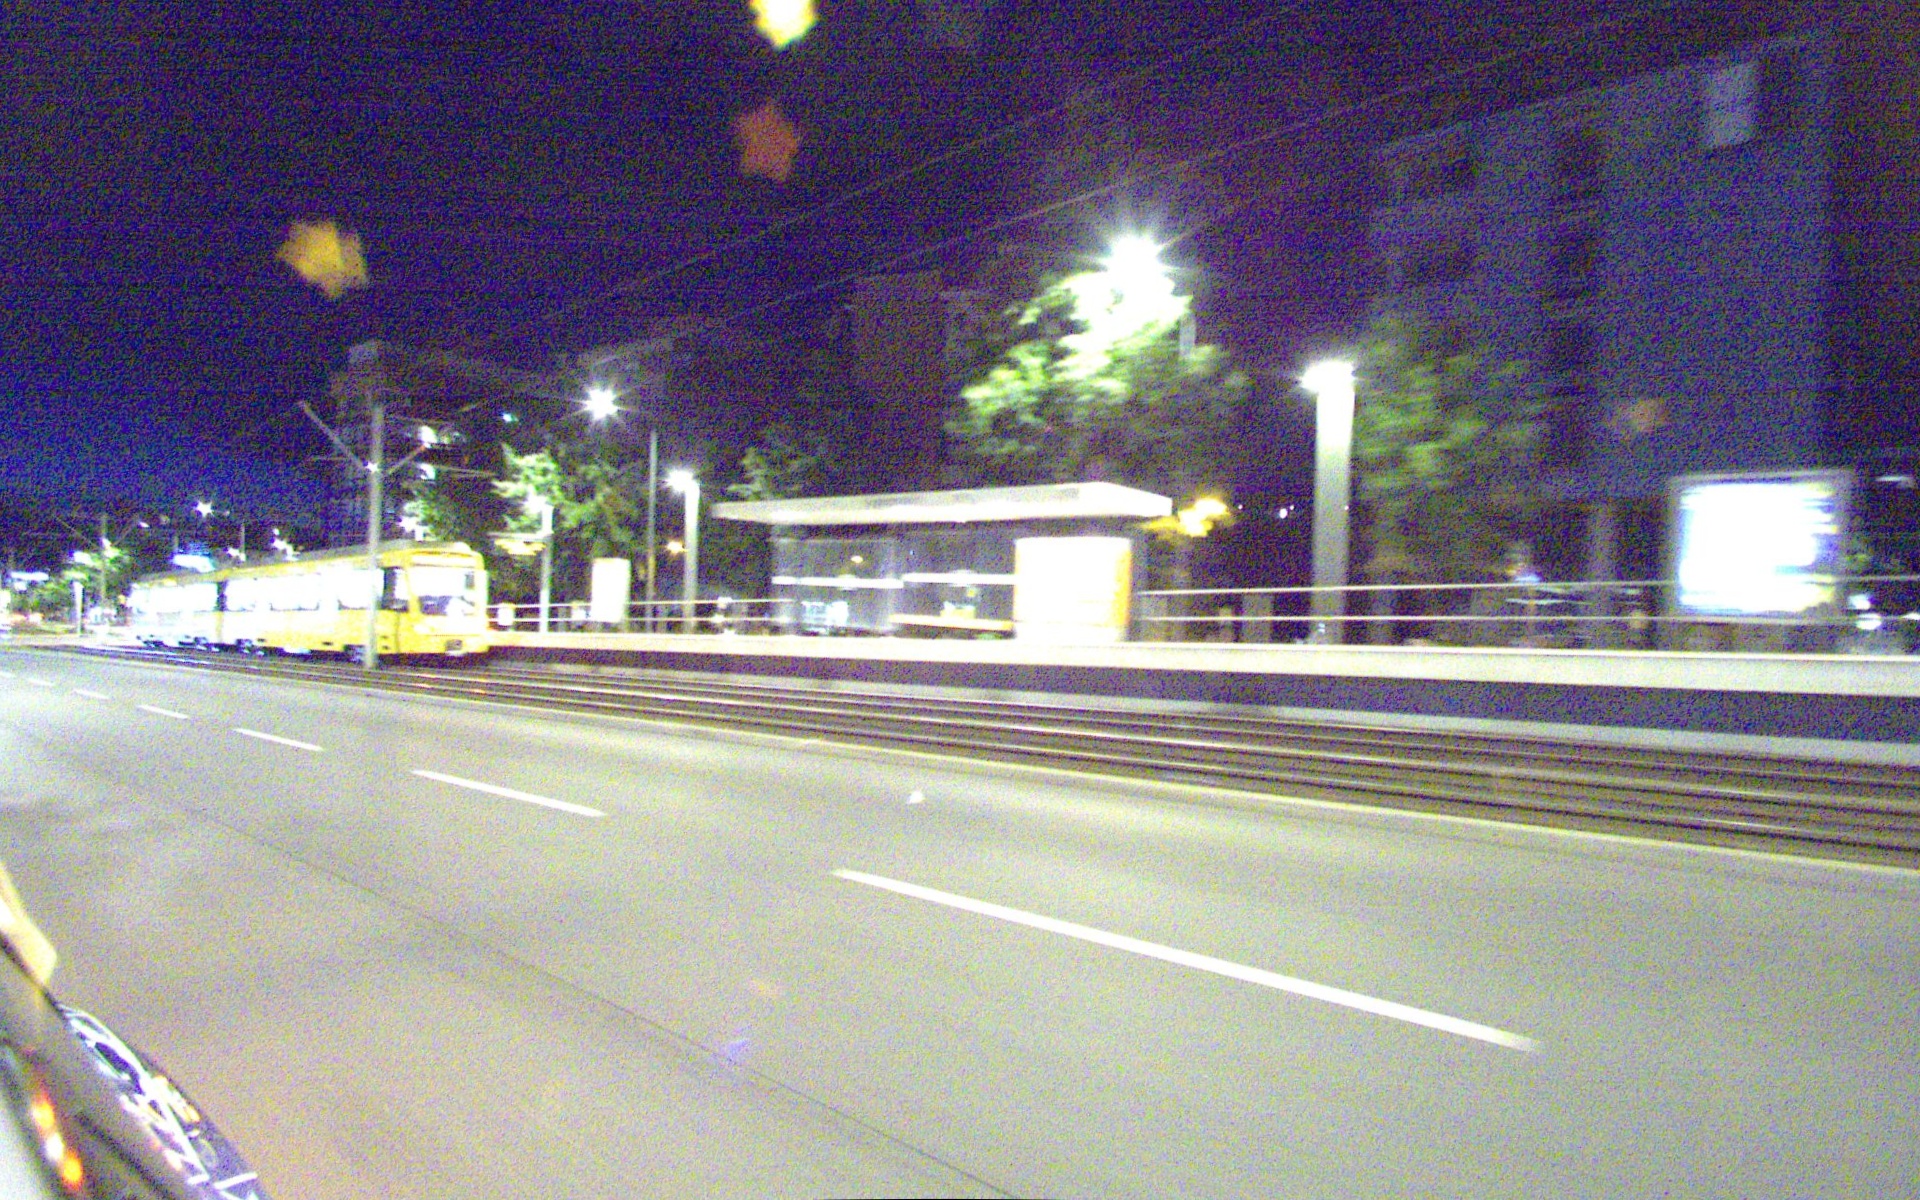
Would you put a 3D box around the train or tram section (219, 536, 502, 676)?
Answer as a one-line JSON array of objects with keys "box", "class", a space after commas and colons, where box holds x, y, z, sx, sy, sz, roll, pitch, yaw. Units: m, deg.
[{"box": [-21.517, 0.325, 35.118, 18.660, 3.856, 2.730, -1, -1, 41], "class": "train or tram section"}]

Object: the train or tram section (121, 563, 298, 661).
[{"box": [-35.805, 0.629, 47.676, 19.354, 3.875, 2.709, -1, -1, 41], "class": "train or tram section"}]
